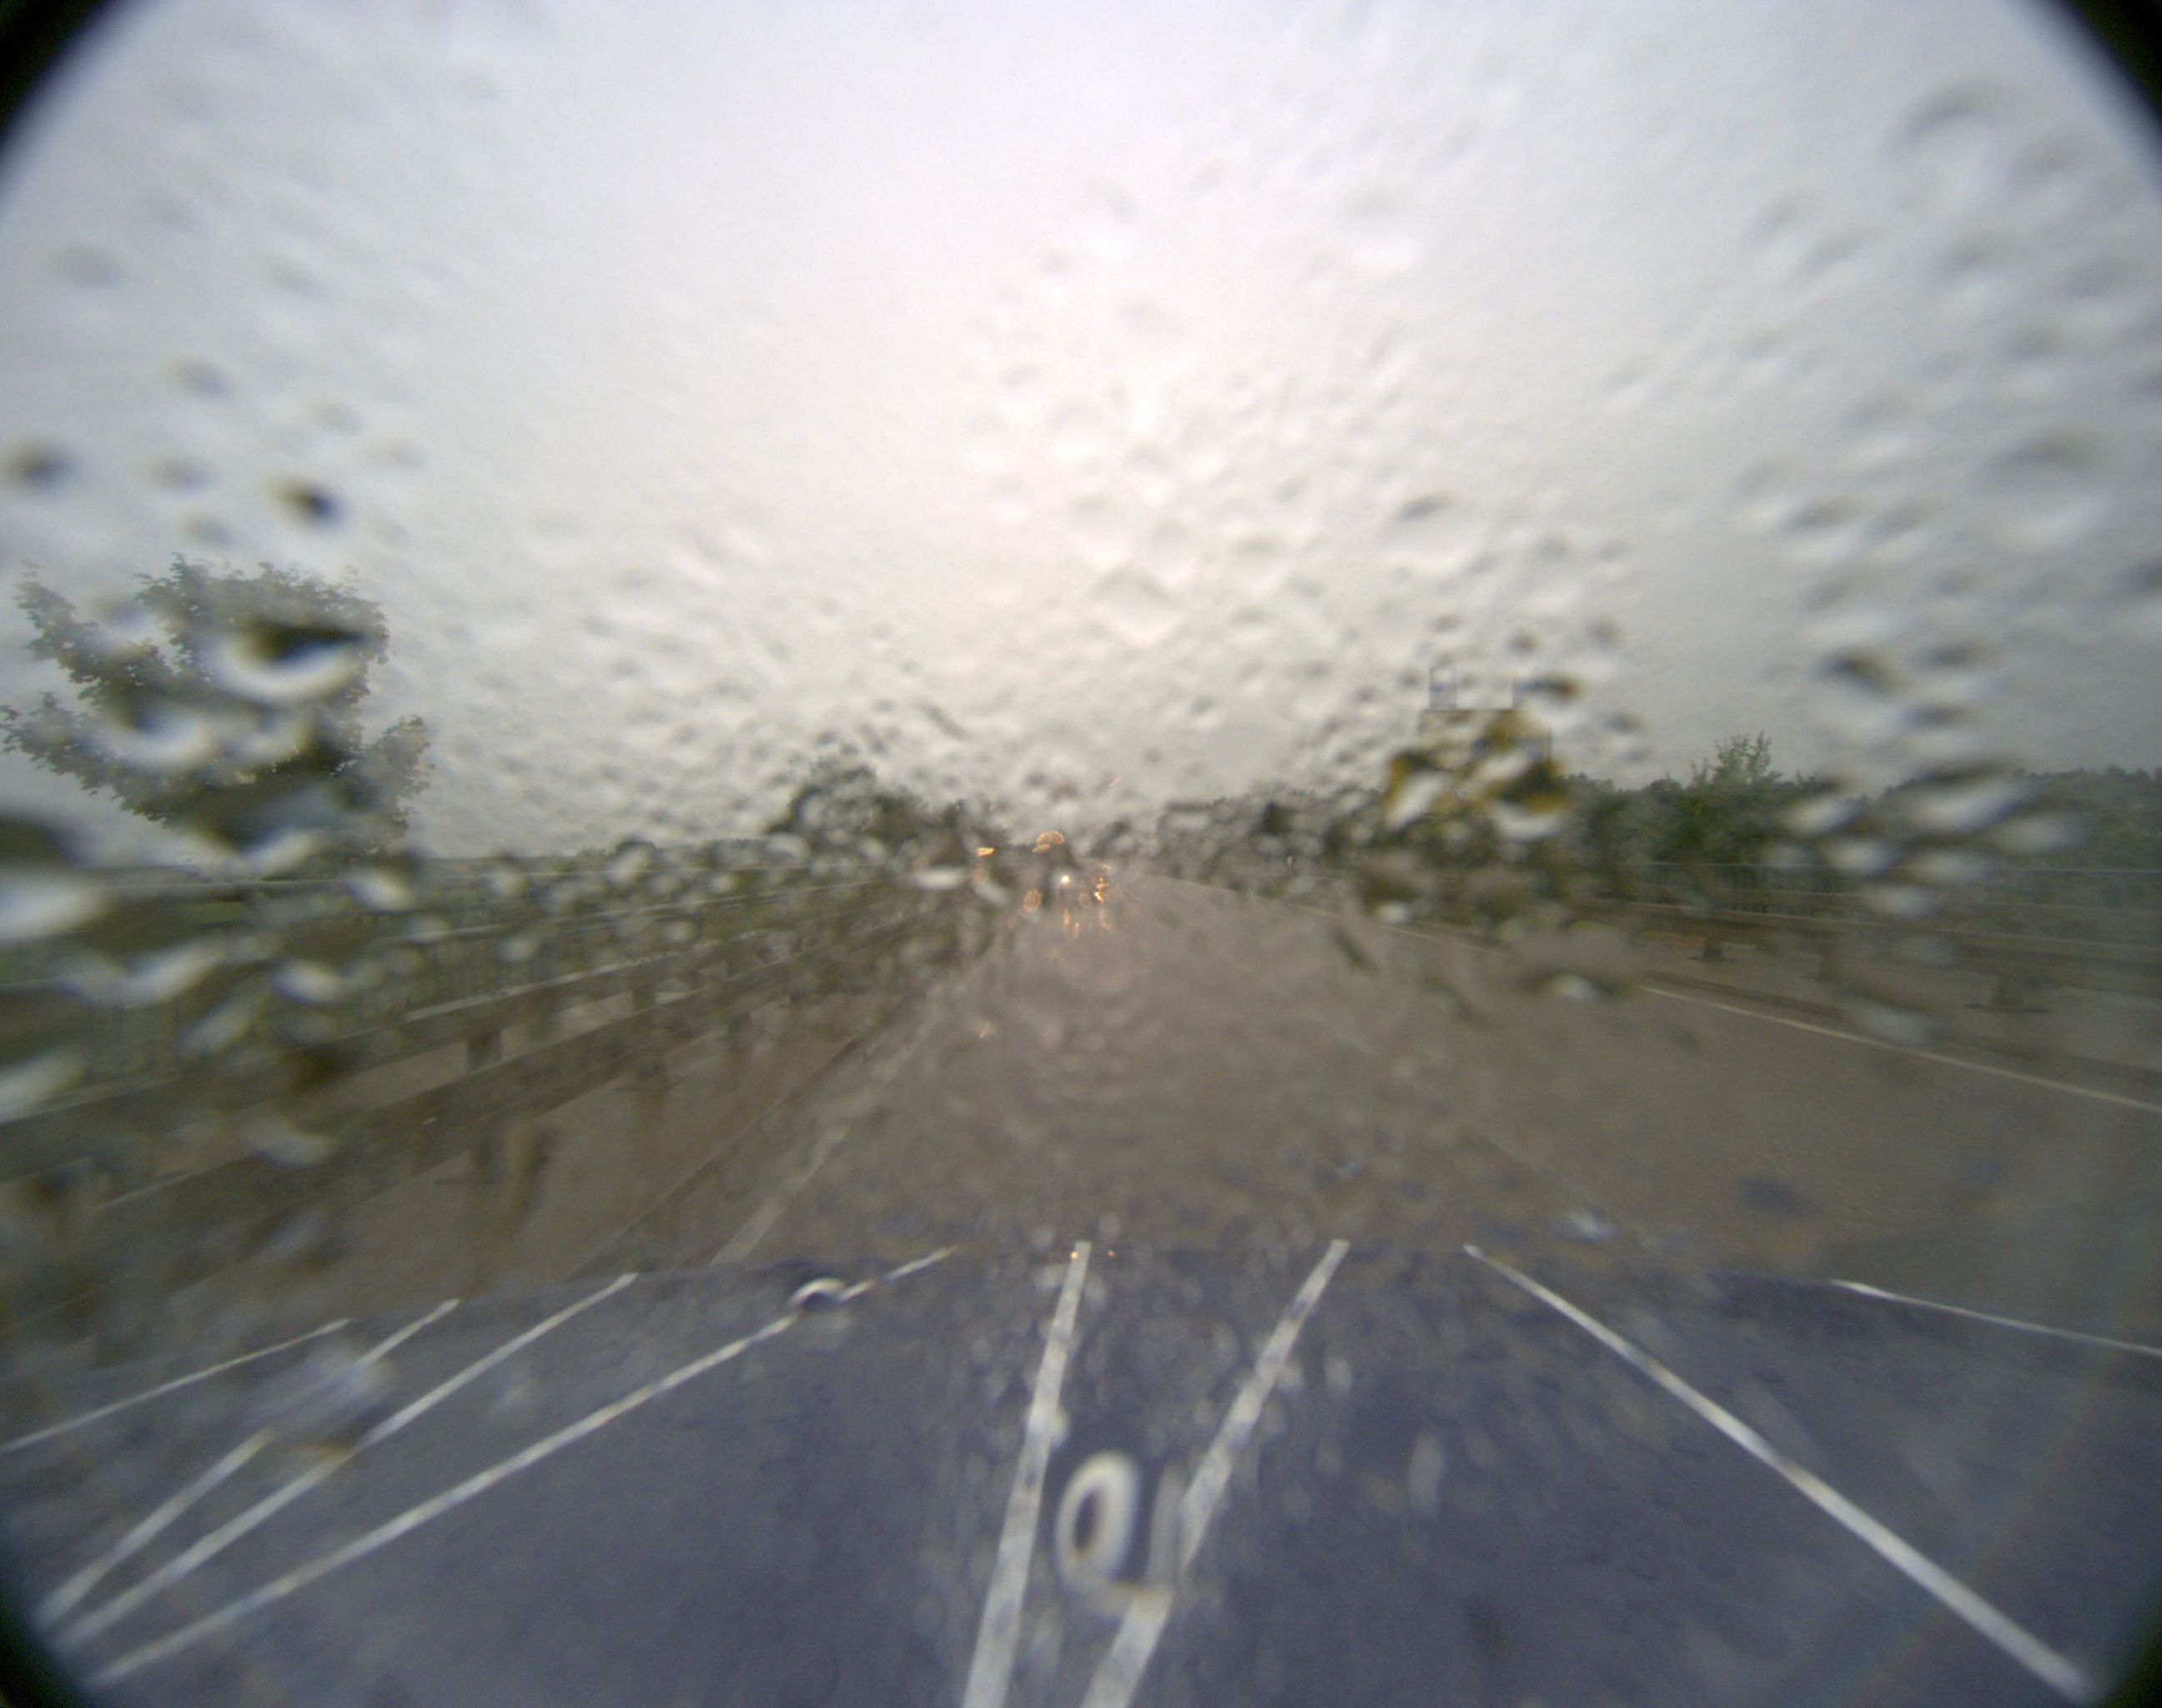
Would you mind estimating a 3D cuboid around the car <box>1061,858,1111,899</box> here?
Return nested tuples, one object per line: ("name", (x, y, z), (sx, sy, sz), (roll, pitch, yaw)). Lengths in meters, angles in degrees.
("car", (0.188, 0.915, 30.470), (1.819, 1.382, 4.068), (-3, 1, 0))
